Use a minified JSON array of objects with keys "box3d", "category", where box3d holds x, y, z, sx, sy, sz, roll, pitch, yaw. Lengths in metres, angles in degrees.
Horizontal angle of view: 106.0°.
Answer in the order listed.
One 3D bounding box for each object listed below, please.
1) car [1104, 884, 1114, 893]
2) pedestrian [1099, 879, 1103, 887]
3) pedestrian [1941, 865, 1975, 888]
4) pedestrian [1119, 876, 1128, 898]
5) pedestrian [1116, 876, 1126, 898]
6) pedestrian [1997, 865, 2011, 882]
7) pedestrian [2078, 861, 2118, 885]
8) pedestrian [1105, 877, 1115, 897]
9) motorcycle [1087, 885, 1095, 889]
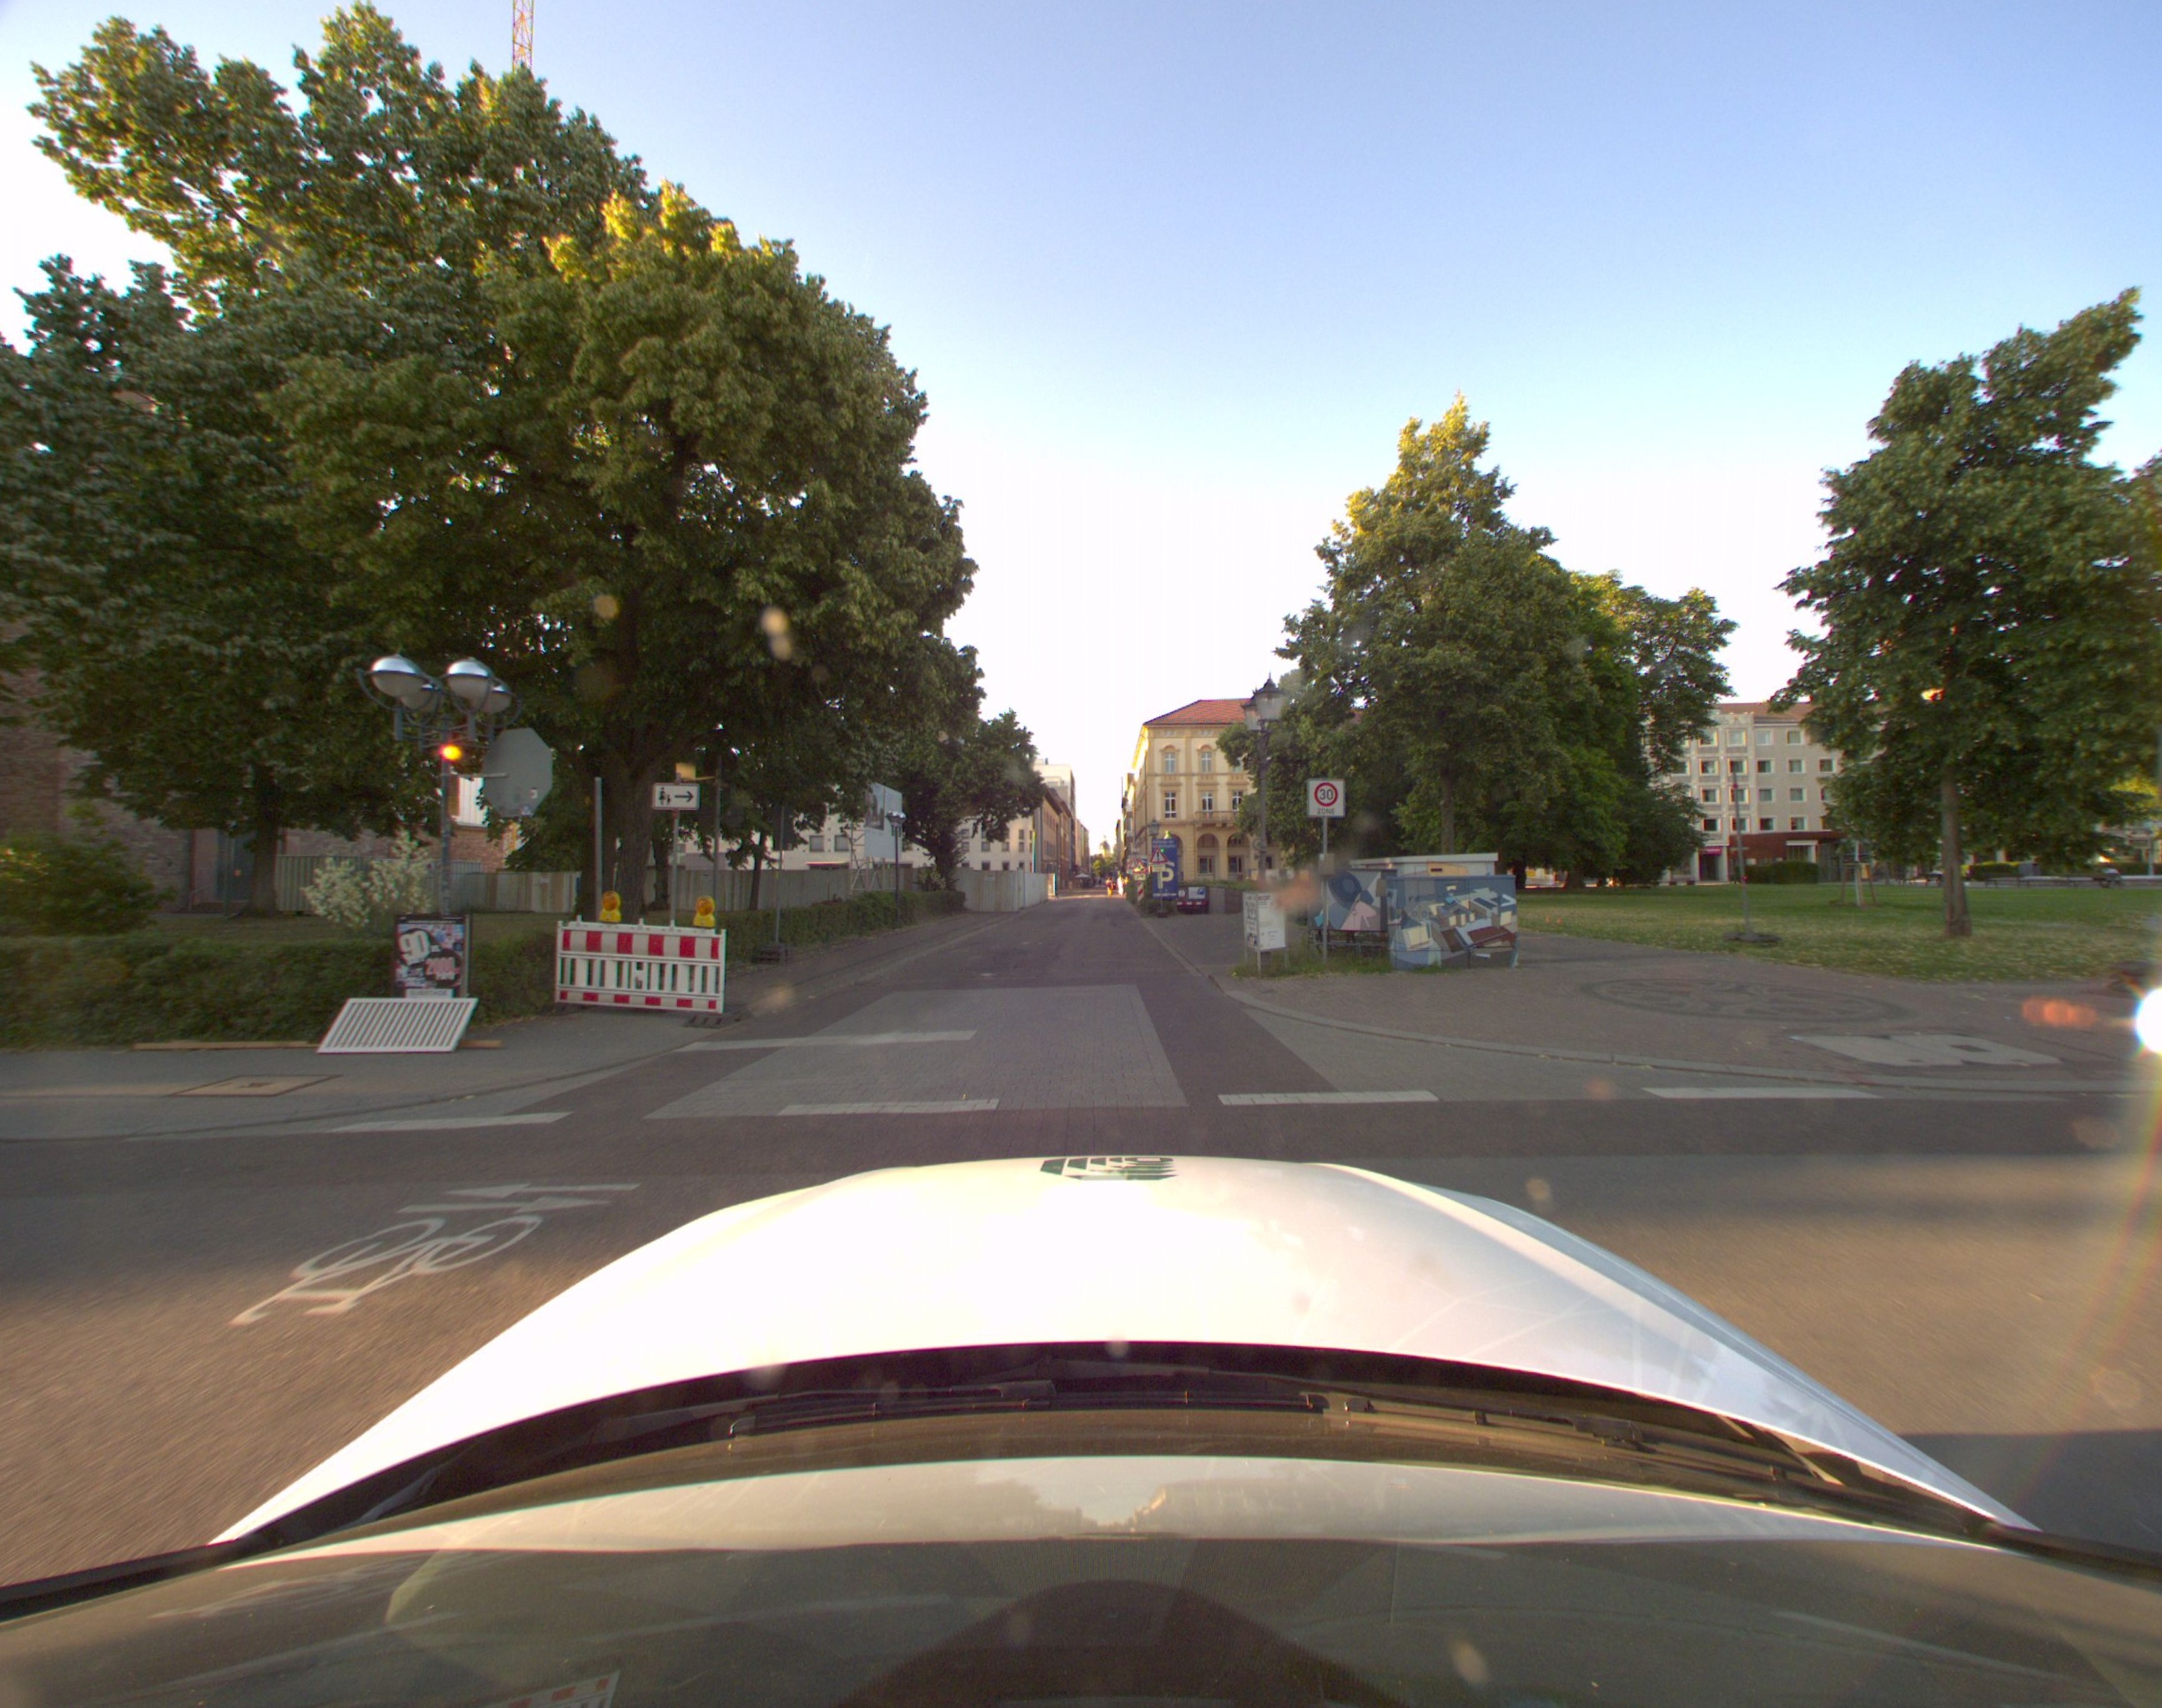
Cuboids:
[{"box3d":[4.707,5.728,135.502,1.643,1.427,3.536,2,-2,2],"category":"car"},{"box3d":[4.466,6.514,181.512,0.801,1.673,0.889,-1,-2,3],"category":"pedestrian"},{"box3d":[50.544,1.304,46.933,1.056,1.292,0.848,-1,-1,19],"category":"pedestrian"},{"box3d":[3.630,2.831,69.577,0.634,1.803,0.772,-1,-2,0],"category":"pedestrian"},{"box3d":[3.435,2.842,70.724,0.809,1.875,0.875,-1,-2,0],"category":"pedestrian"},{"box3d":[72.365,1.520,63.853,1.038,1.367,0.644,1,-3,-39],"category":"pedestrian"},{"box3d":[50.547,0.947,40.480,1.098,1.200,0.664,-1,-2,-1],"category":"pedestrian"},{"box3d":[2.519,2.850,70.863,0.773,1.747,0.875,-1,-2,0],"category":"pedestrian"},{"box3d":[2.111,7.017,175.399,1.797,0.876,0.560,0,-2,-3],"category":"motorcycle"}]
